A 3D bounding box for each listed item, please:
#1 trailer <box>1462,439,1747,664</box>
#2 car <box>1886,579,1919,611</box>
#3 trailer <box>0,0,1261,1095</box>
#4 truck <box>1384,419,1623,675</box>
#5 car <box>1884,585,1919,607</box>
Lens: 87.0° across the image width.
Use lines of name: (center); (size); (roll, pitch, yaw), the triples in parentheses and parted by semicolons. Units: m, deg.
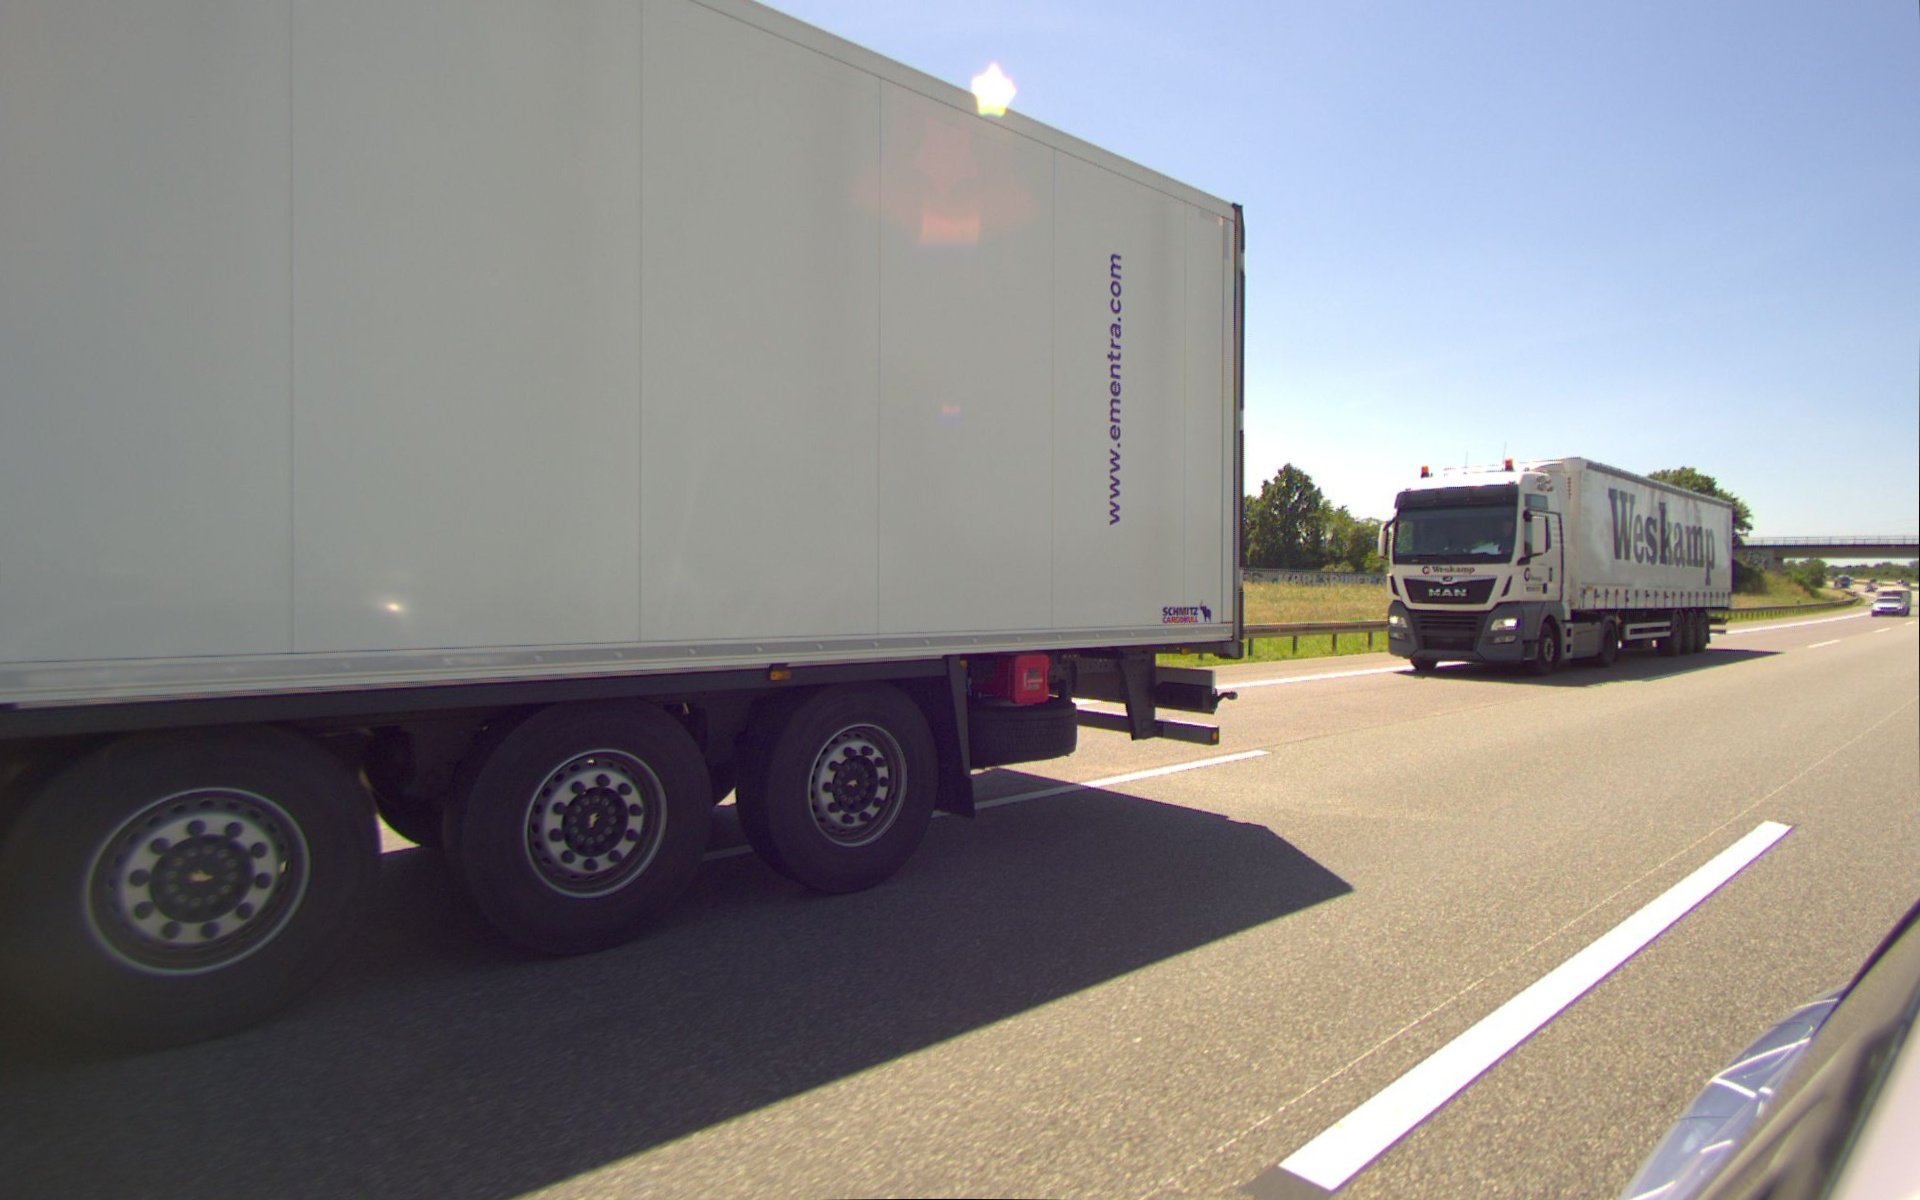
trailer: (16.333, -0.907, 24.865); (13.408, 4.305, 2.599); (0, 0, -43)
car: (72.211, -0.426, 77.221); (2.182, 2.294, 4.876); (2, 2, 42)
trailer: (-4.221, -1.010, 3.342); (13.737, 4.716, 2.907); (0, 0, -40)
truck: (10.654, -0.928, 19.683); (5.002, 4.309, 2.604); (0, 0, -42)
car: (67.521, -0.316, 72.595); (1.779, 1.494, 3.939); (2, 2, 42)
